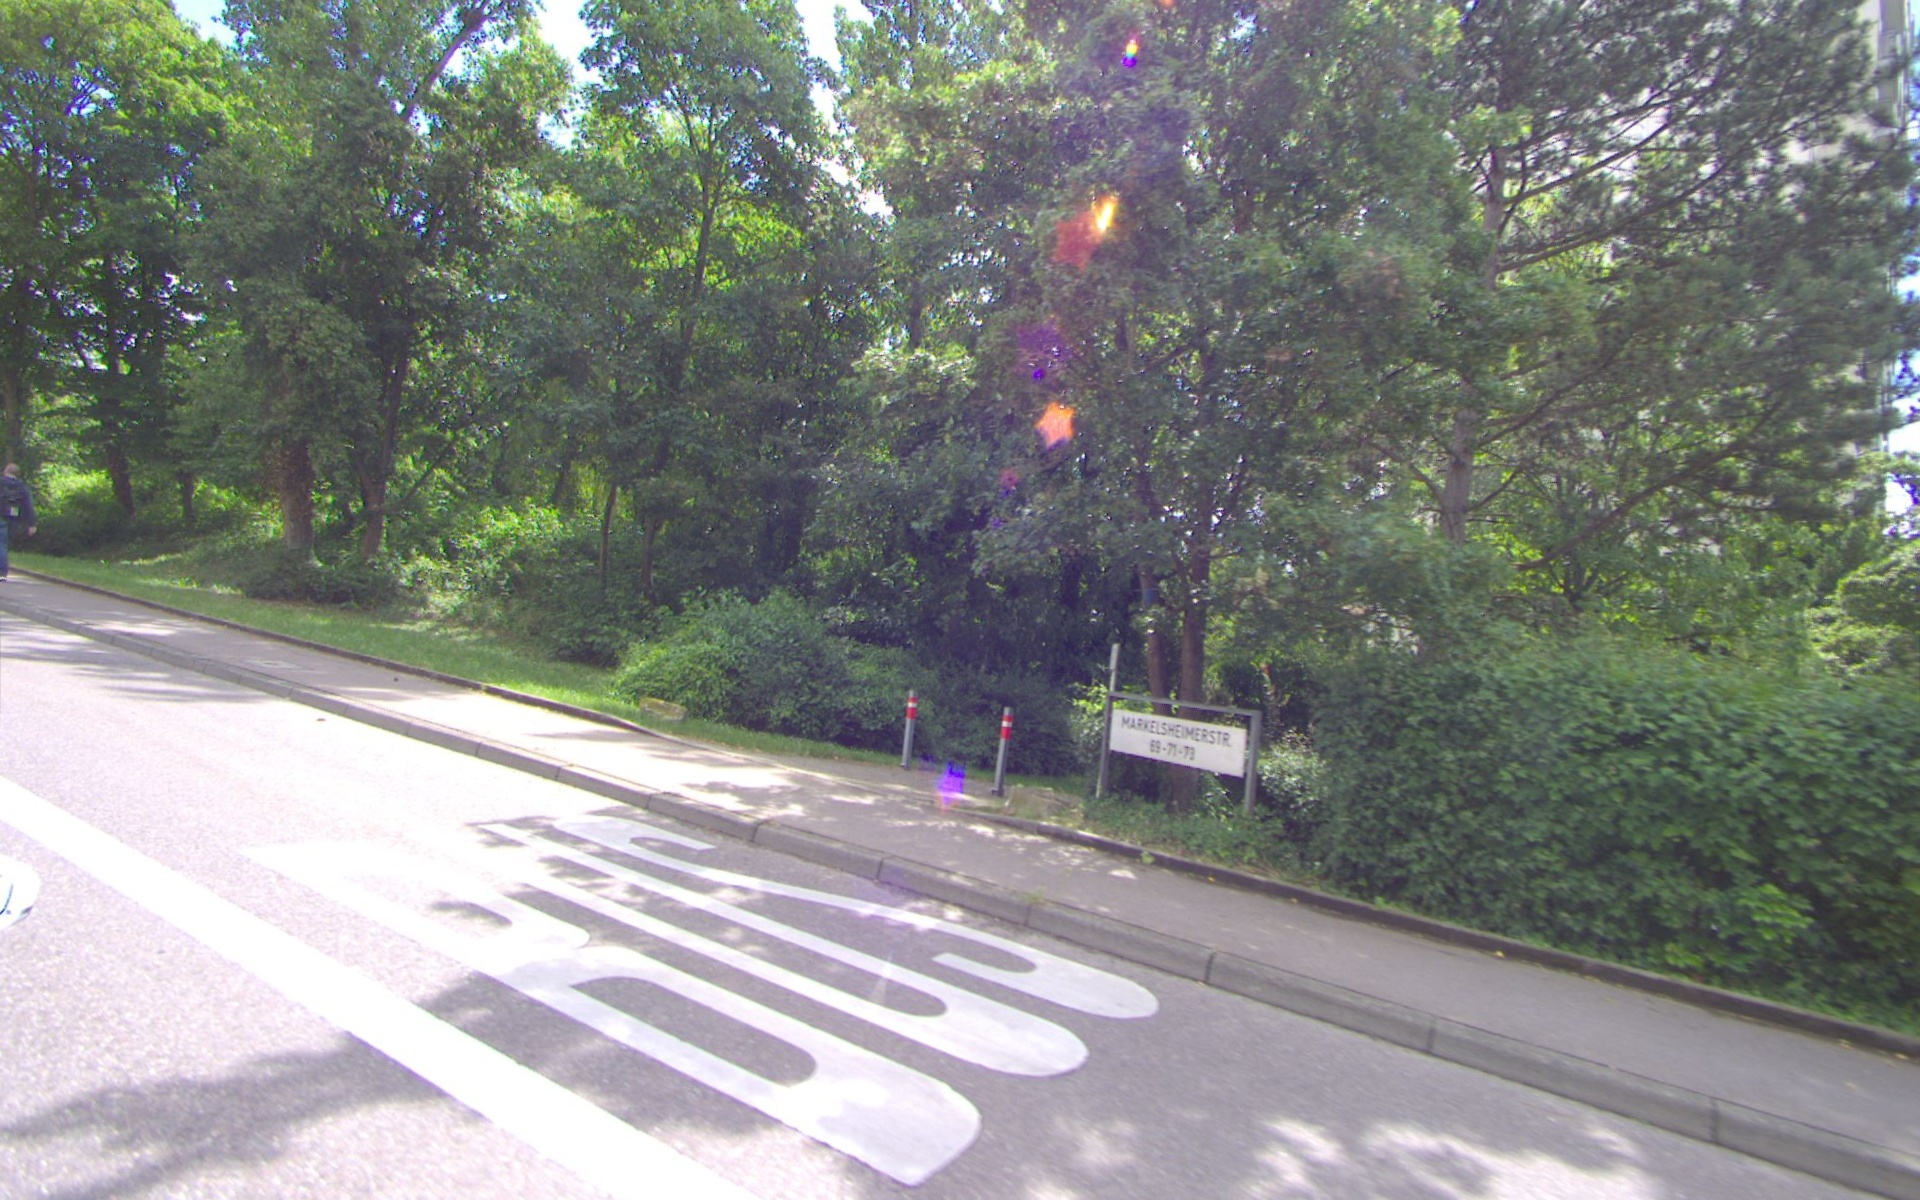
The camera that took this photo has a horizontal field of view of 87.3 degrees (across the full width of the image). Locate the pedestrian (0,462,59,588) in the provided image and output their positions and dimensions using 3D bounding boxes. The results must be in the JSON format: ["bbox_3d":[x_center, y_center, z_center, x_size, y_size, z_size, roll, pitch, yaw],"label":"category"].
[{"bbox_3d":[-15.646,-1.257,16.474,1.249,1.917,0.803,7,-2,31],"label":"pedestrian"}]
